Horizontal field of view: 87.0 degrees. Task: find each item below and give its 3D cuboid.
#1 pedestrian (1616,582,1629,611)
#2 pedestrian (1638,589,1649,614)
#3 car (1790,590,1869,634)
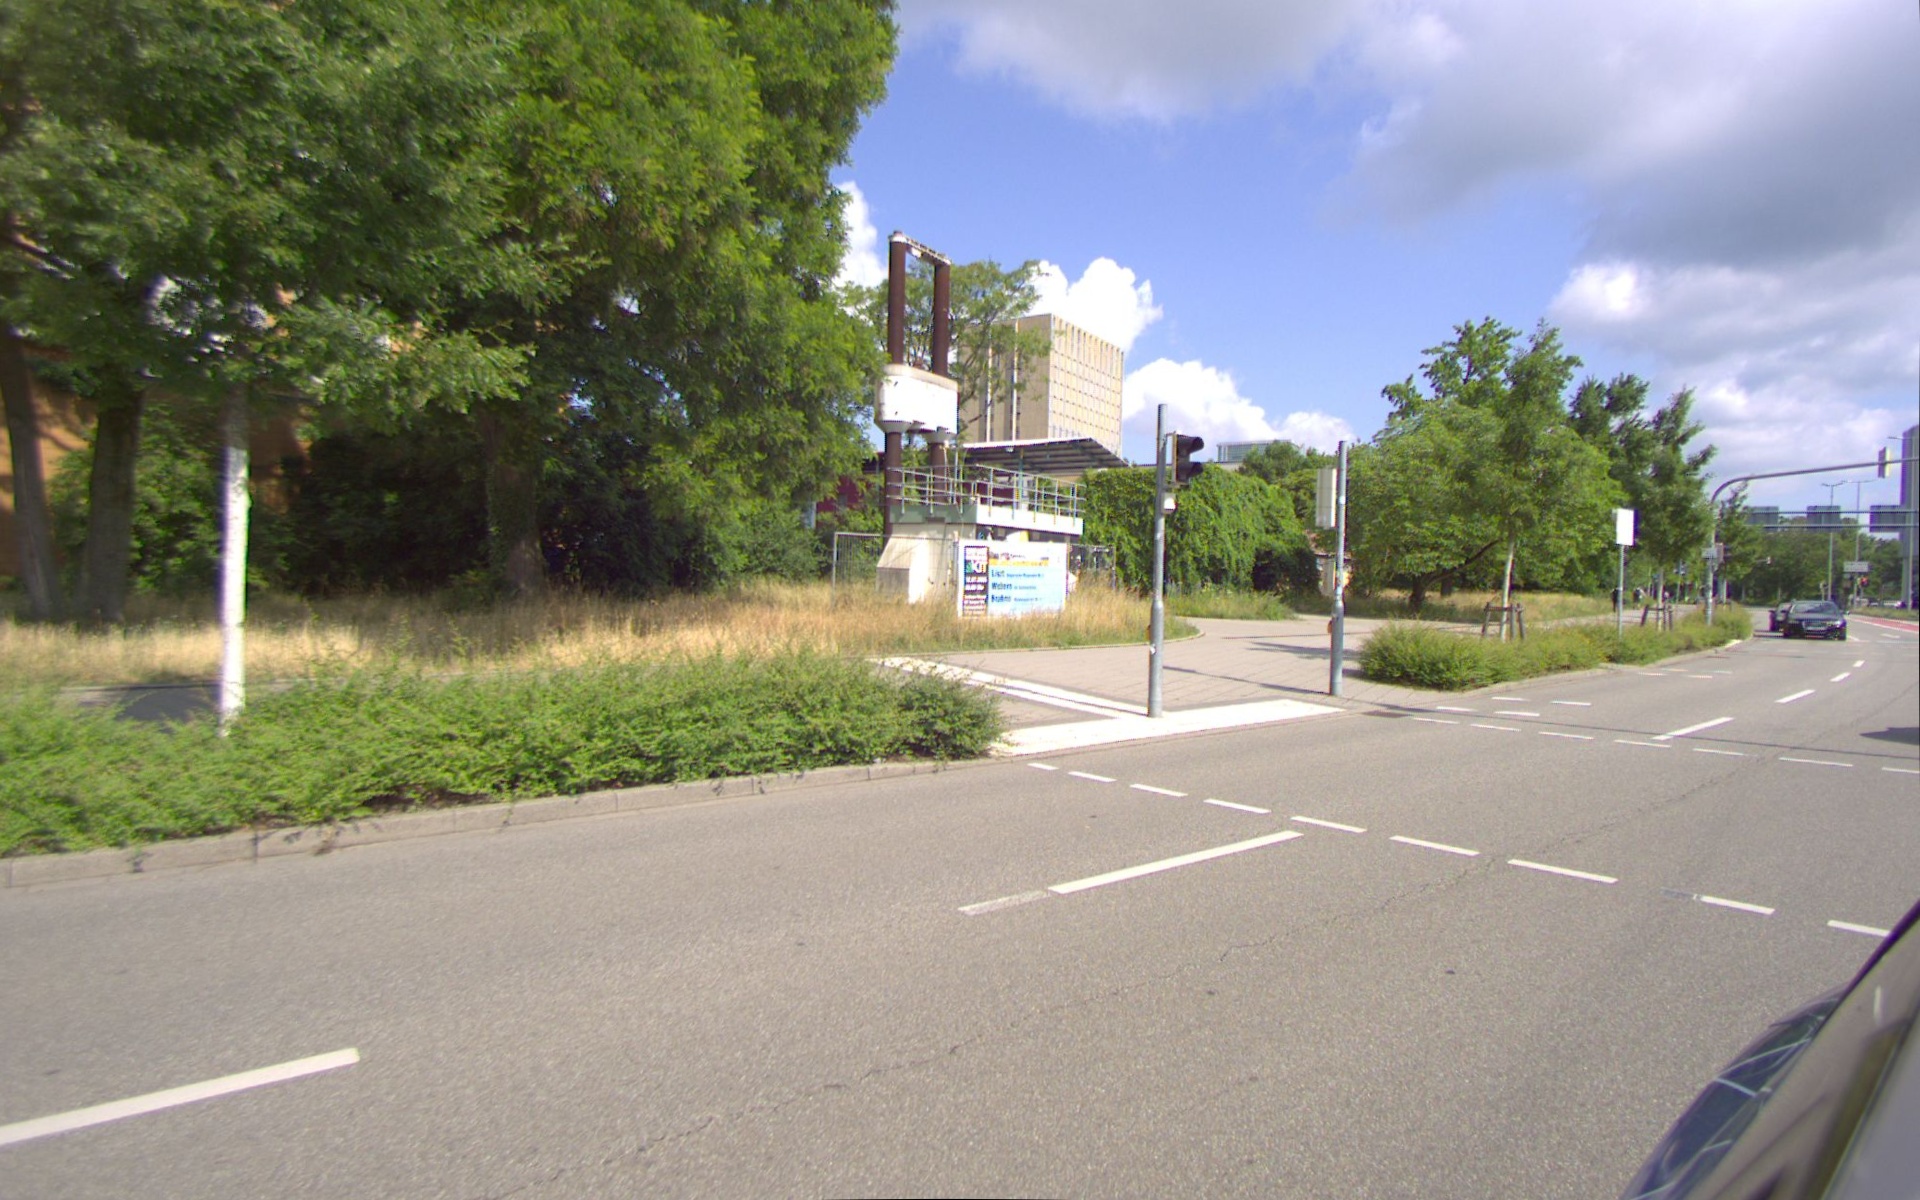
[{"bbox_3d":[38.246,-0.220,58.438,0.538,1.628,0.518,2,-1,31],"label":"pedestrian"},{"bbox_3d":[49.229,0.099,72.899,0.538,1.790,0.518,2,-1,31],"label":"pedestrian"},{"bbox_3d":[31.701,0.398,37.001,1.991,1.394,4.102,3,3,39],"label":"car"}]
